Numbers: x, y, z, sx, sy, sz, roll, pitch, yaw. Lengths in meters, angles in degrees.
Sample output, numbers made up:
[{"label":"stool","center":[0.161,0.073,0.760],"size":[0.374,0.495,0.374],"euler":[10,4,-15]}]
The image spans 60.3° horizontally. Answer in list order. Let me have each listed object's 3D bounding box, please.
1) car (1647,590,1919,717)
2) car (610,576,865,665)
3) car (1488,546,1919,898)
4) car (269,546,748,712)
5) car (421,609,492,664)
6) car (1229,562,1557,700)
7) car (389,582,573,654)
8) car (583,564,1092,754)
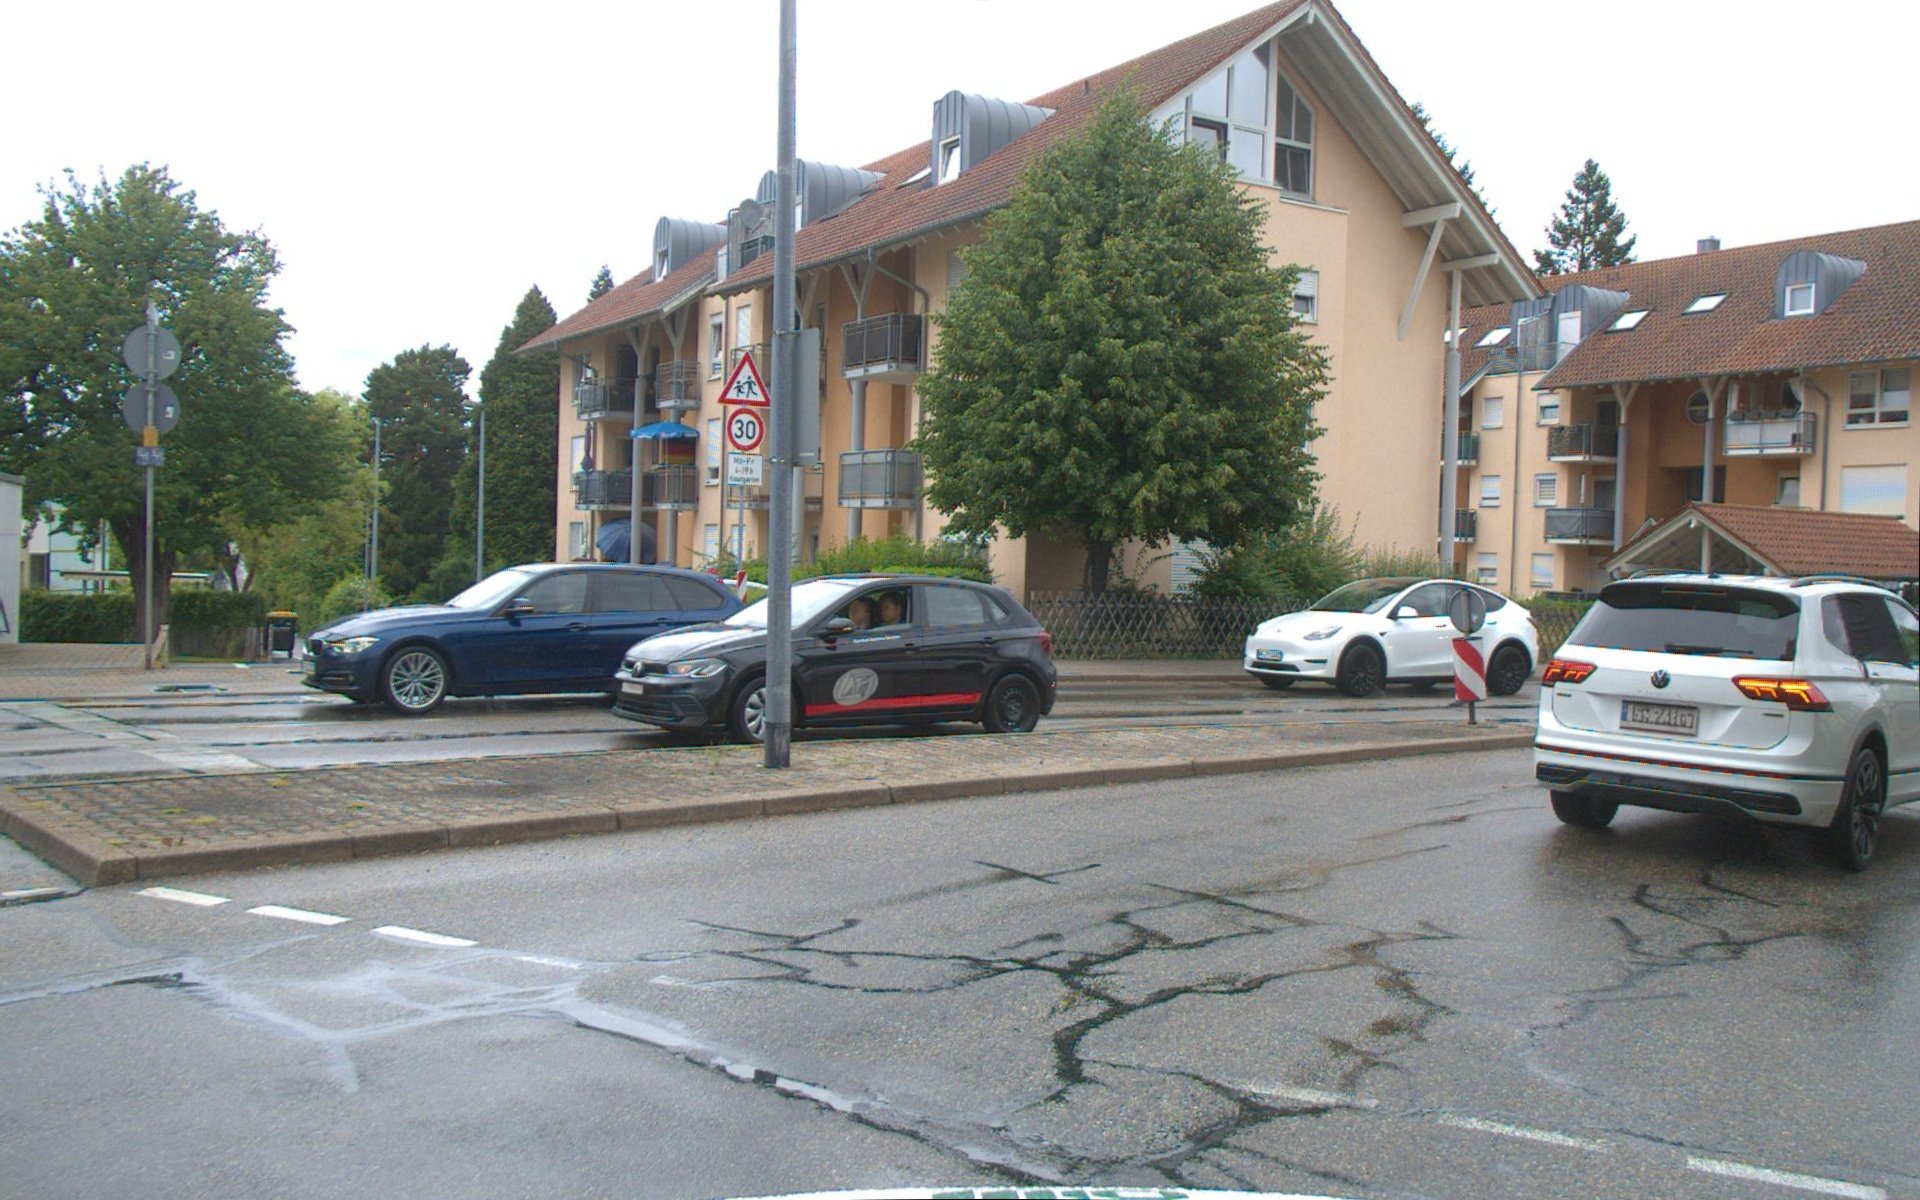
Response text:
[{"label":"car","center":[11.589,0.740,22.671],"size":[3.872,1.512,1.816],"euler":[3,0,-24]},{"label":"car","center":[-3.941,0.374,29.341],"size":[4.137,1.464,1.808],"euler":[1,-1,-26]},{"label":"car","center":[5.411,0.629,10.949],"size":[1.896,1.751,4.235],"euler":[7,5,44]},{"label":"car","center":[-4.448,0.301,16.626],"size":[4.306,1.460,1.737],"euler":[2,0,-37]},{"label":"car","center":[-14.881,1.055,48.784],"size":[1.735,1.432,3.838],"euler":[0,1,-21]},{"label":"car","center":[6.233,0.417,23.678],"size":[4.540,1.755,1.934],"euler":[1,2,-32]},{"label":"car","center":[-17.733,0.687,61.298],"size":[5.940,2.239,2.823],"euler":[4,0,-31]},{"label":"car","center":[-1.009,0.437,14.541],"size":[4.154,1.432,1.800],"euler":[0,1,-35]}]
